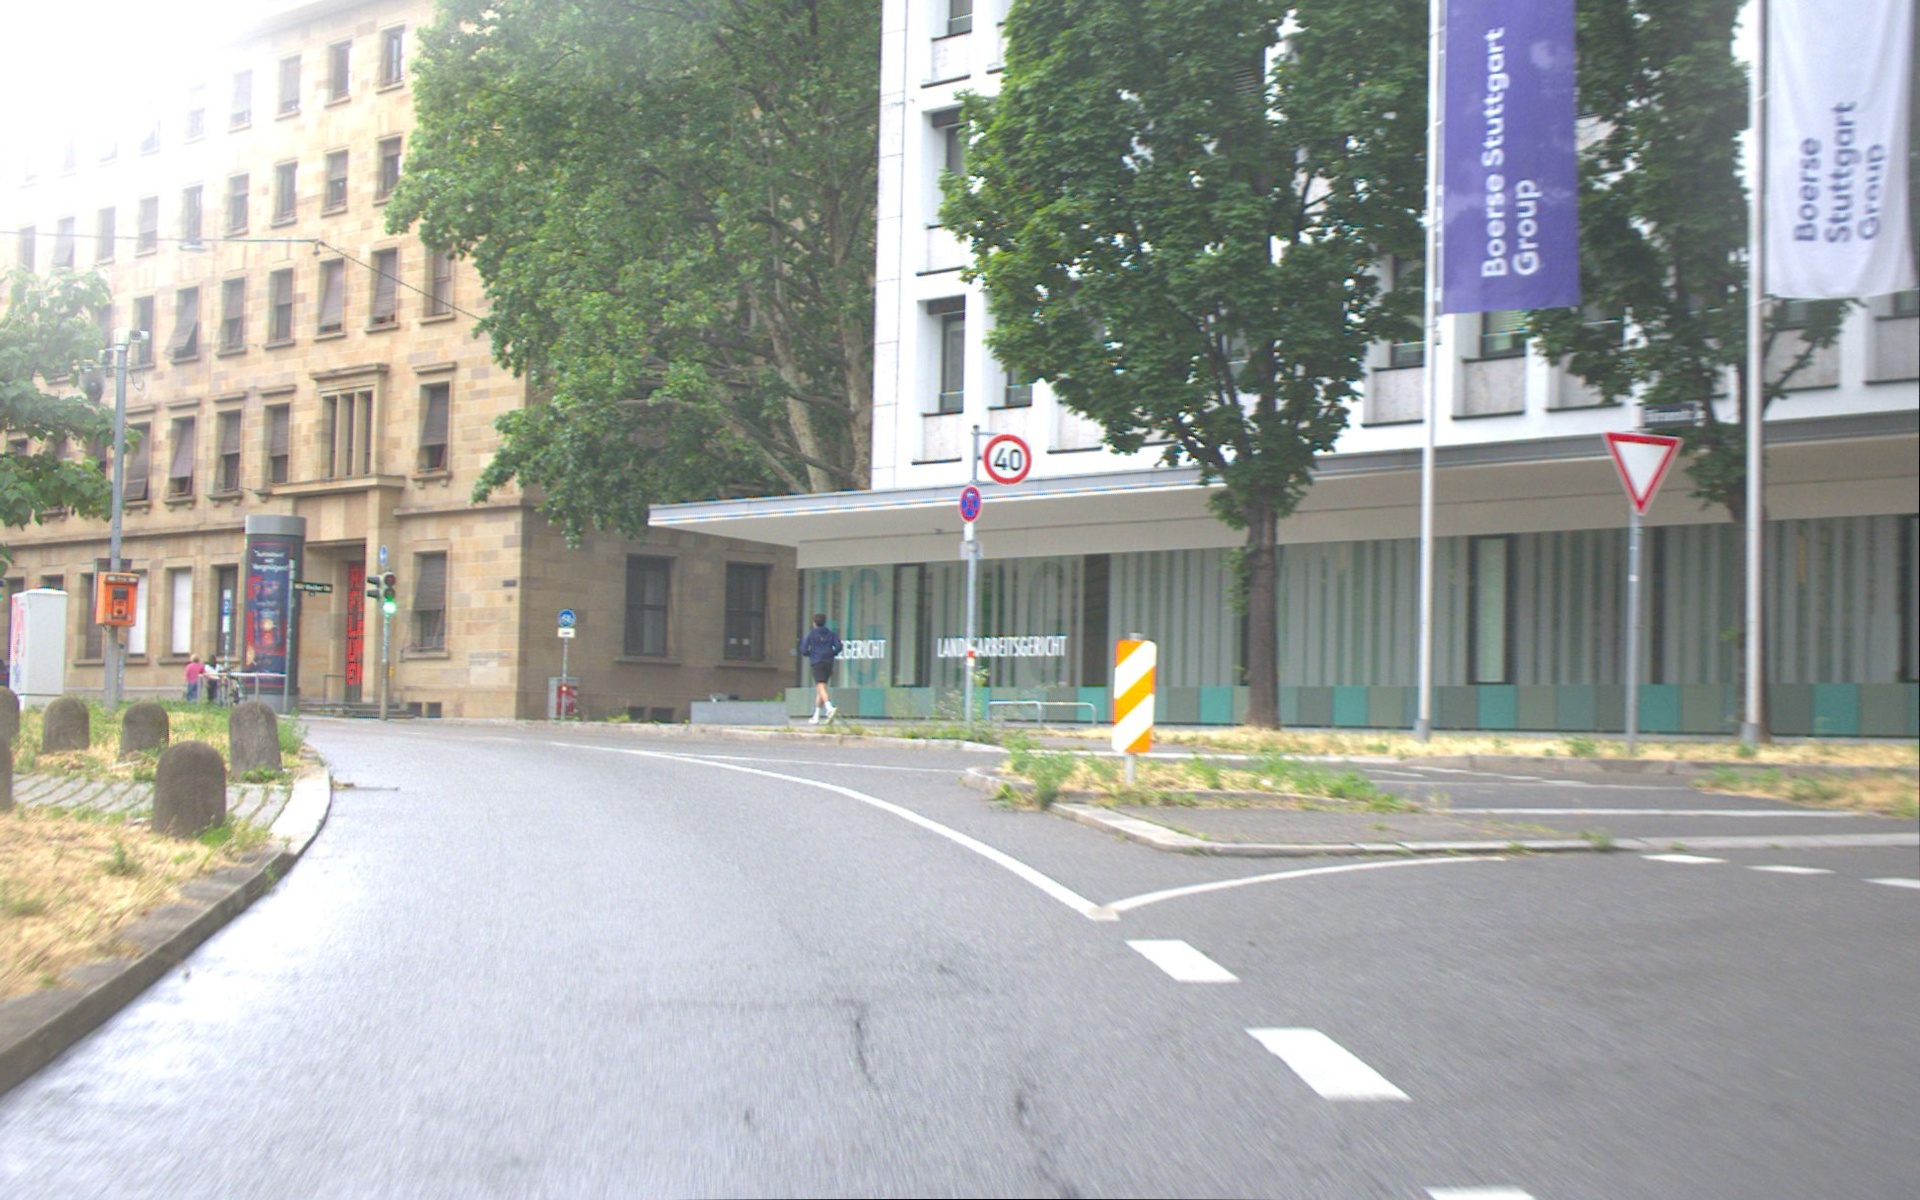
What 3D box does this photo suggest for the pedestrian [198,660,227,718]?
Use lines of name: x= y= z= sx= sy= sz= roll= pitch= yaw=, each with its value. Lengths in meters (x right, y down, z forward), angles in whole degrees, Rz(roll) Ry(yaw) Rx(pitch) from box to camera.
pedestrian: x=-20.830 y=2.475 z=95.827 sx=0.524 sy=1.597 sz=0.674 roll=3 pitch=-3 yaw=-34

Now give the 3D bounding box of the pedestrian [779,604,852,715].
pedestrian: x=-2.348 y=0.959 z=55.751 sx=0.779 sy=1.766 sz=0.862 roll=3 pitch=-2 yaw=-34

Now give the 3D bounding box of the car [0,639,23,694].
car: x=-30.065 y=2.013 z=104.759 sx=1.768 sy=1.614 sz=4.157 roll=4 pitch=-3 yaw=-31

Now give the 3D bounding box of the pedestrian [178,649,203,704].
pedestrian: x=-21.341 y=2.123 z=95.344 sx=0.524 sy=1.487 sz=0.674 roll=3 pitch=-2 yaw=-21

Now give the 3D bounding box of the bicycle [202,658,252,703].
bicycle: x=-17.155 y=1.881 z=80.446 sx=0.489 sy=1.009 sz=1.928 roll=4 pitch=-3 yaw=-32
